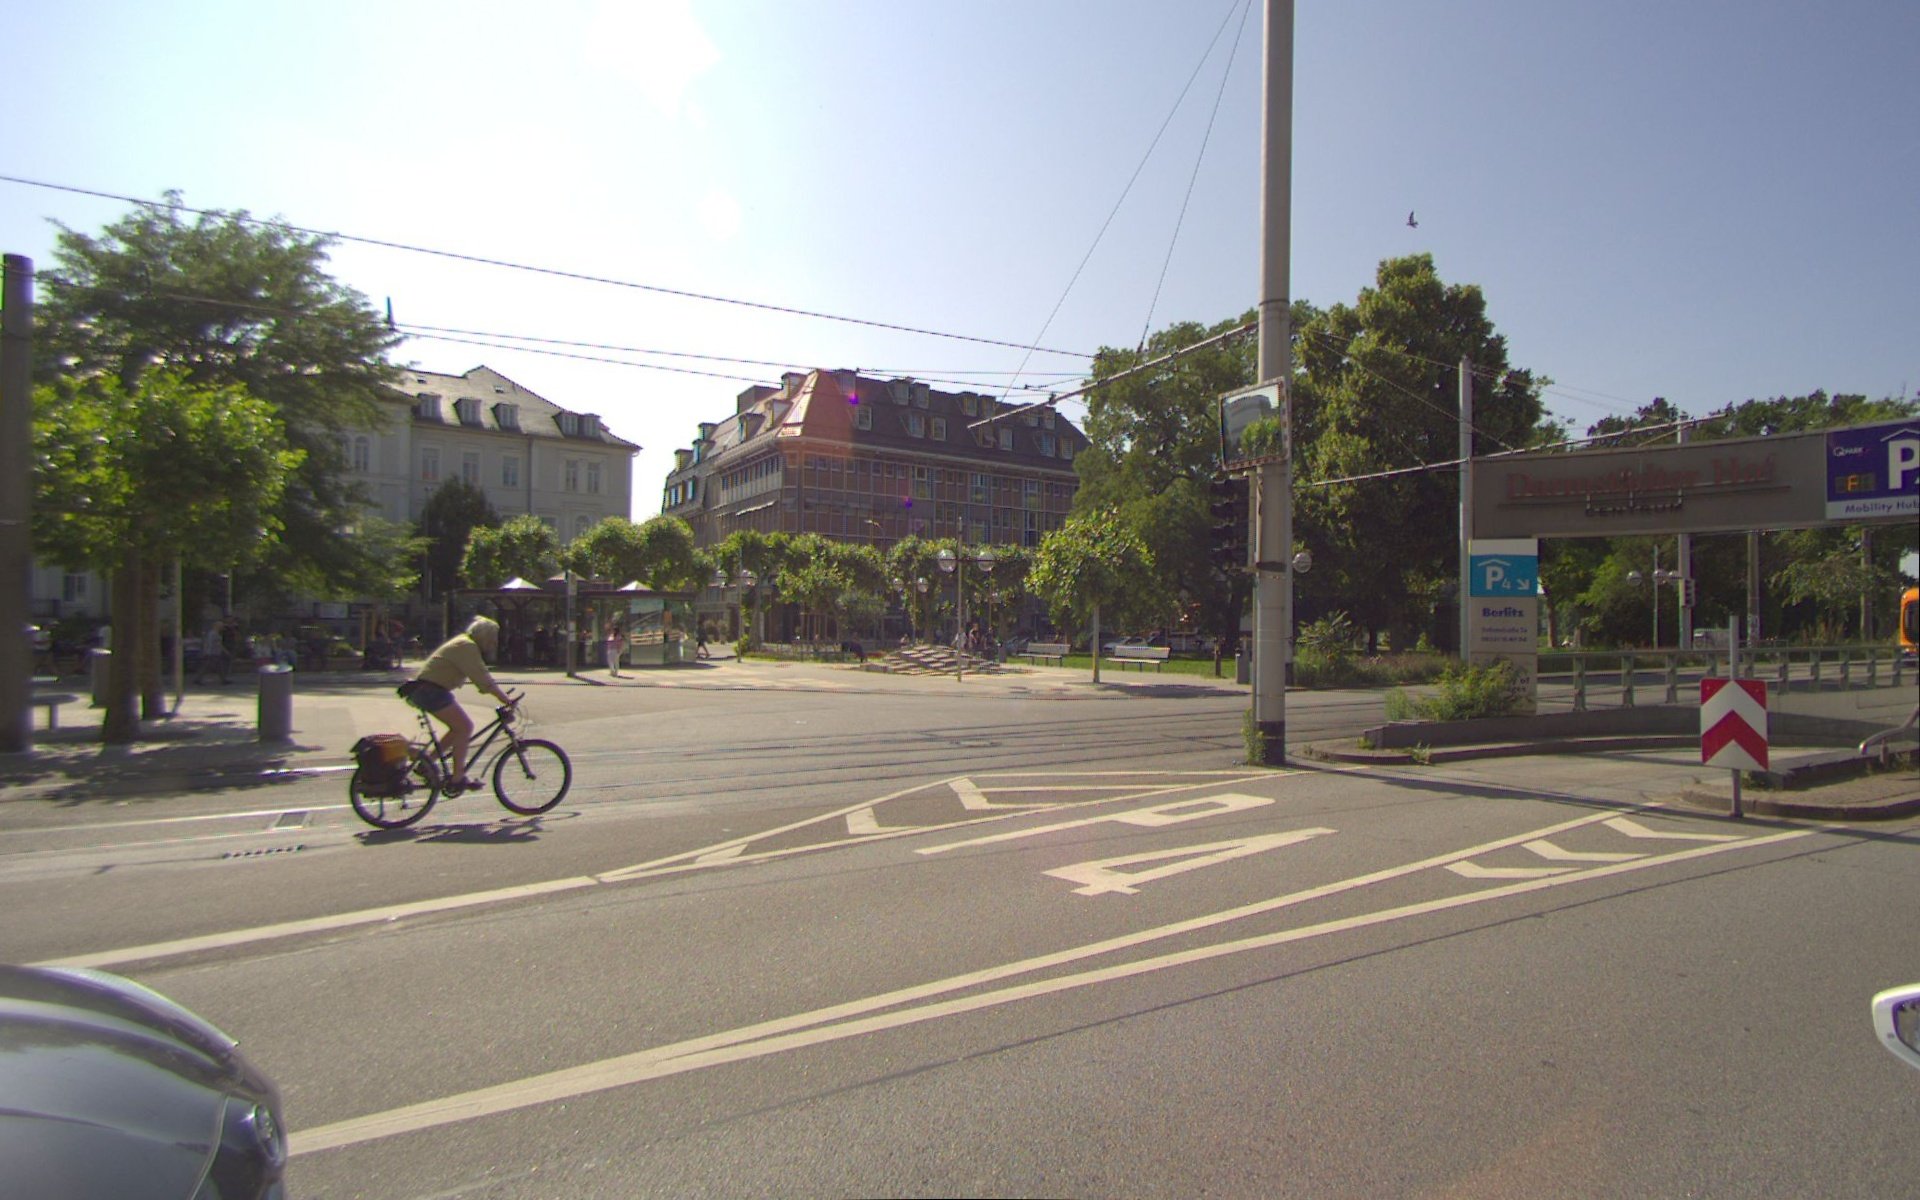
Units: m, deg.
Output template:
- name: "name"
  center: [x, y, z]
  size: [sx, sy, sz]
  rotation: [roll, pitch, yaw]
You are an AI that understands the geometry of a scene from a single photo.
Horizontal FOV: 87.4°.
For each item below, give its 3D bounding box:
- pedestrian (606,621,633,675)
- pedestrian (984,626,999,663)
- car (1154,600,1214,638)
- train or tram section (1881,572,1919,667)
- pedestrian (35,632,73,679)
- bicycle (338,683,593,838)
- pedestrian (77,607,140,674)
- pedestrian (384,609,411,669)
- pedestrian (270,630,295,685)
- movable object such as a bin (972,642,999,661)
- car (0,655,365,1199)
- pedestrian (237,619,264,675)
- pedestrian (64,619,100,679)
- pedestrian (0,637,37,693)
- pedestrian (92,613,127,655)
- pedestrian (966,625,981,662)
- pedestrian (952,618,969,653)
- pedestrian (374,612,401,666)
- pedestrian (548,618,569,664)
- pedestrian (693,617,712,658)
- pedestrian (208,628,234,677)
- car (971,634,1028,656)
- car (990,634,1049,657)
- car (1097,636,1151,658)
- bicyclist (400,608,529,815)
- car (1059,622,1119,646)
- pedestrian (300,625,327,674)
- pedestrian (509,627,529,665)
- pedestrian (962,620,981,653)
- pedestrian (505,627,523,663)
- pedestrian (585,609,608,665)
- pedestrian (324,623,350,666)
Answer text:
- name: "pedestrian"
  center: [-11.026, 1.559, 32.510]
  size: [0.697, 1.728, 0.673]
  rotation: [1, -2, -31]
- name: "pedestrian"
  center: [1.386, 1.961, 44.551]
  size: [0.491, 1.630, 0.410]
  rotation: [1, -3, -40]
- name: "car"
  center: [20.685, 1.784, 92.858]
  size: [5.359, 3.360, 2.115]
  rotation: [1, 1, -31]
- name: "train or tram section"
  center: [39.355, 0.820, 39.737]
  size: [6.034, 3.629, 2.600]
  rotation: [1, 1, -31]
- name: "pedestrian"
  center: [-25.437, 1.550, 28.207]
  size: [0.573, 1.279, 0.620]
  rotation: [0, -2, -21]
- name: "bicycle"
  center: [-4.193, 1.303, 8.573]
  size: [1.855, 1.135, 0.813]
  rotation: [2, -4, -34]
- name: "pedestrian"
  center: [-23.908, 1.139, 28.214]
  size: [1.064, 1.817, 0.964]
  rotation: [0, -2, -21]
- name: "pedestrian"
  center: [-19.226, 1.324, 34.312]
  size: [0.537, 2.034, 0.630]
  rotation: [-2, -3, 37]
- name: "pedestrian"
  center: [-21.934, 1.863, 32.527]
  size: [0.612, 1.751, 0.736]
  rotation: [1, -2, -31]
- name: "movable object such as a bin"
  center: [1.088, 2.186, 42.776]
  size: [0.790, 0.764, 0.903]
  rotation: [0, -3, -30]
- name: "car"
  center: [-2.669, 0.798, 0.498]
  size: [3.950, 1.494, 1.770]
  rotation: [1, -2, -28]
- name: "pedestrian"
  center: [-22.637, 1.501, 32.053]
  size: [0.612, 1.751, 0.736]
  rotation: [1, -2, -31]
- name: "pedestrian"
  center: [-26.734, 1.493, 30.583]
  size: [0.612, 1.802, 0.580]
  rotation: [0, -2, -16]
- name: "pedestrian"
  center: [-17.450, 1.189, 18.455]
  size: [0.573, 1.014, 0.632]
  rotation: [0, -3, -28]
- name: "pedestrian"
  center: [-25.944, 1.045, 30.665]
  size: [0.612, 1.279, 0.580]
  rotation: [0, -2, -16]
- name: "pedestrian"
  center: [0.582, 1.894, 43.680]
  size: [0.460, 1.630, 0.449]
  rotation: [0, -3, -30]
- name: "pedestrian"
  center: [0.016, 1.650, 47.129]
  size: [0.616, 1.630, 0.488]
  rotation: [1, -3, -40]
- name: "pedestrian"
  center: [-19.181, 1.304, 33.658]
  size: [0.537, 1.771, 0.630]
  rotation: [-2, -3, 37]
- name: "pedestrian"
  center: [-15.347, 1.562, 38.372]
  size: [0.612, 1.751, 0.736]
  rotation: [1, -2, -31]
- name: "pedestrian"
  center: [-13.043, 1.899, 50.844]
  size: [0.822, 2.034, 0.598]
  rotation: [1, -3, -33]
- name: "pedestrian"
  center: [-19.458, 1.375, 26.457]
  size: [0.398, 1.279, 0.480]
  rotation: [-3, -3, 41]
- name: "car"
  center: [2.920, 3.280, 73.525]
  size: [3.962, 1.528, 1.743]
  rotation: [1, 1, -37]
- name: "car"
  center: [4.231, 3.207, 71.045]
  size: [3.962, 1.528, 1.743]
  rotation: [1, 1, -37]
- name: "car"
  center: [12.624, 3.572, 77.220]
  size: [3.962, 1.528, 1.743]
  rotation: [1, 1, -37]
- name: "bicyclist"
  center: [-4.240, 0.916, 8.580]
  size: [0.893, 1.643, 0.813]
  rotation: [1, -4, -34]
- name: "car"
  center: [10.056, 2.644, 78.156]
  size: [4.798, 1.685, 1.743]
  rotation: [1, 1, -37]
- name: "pedestrian"
  center: [-21.296, 1.627, 33.103]
  size: [0.614, 1.619, 0.733]
  rotation: [1, -3, -42]
- name: "pedestrian"
  center: [-16.395, 1.710, 37.359]
  size: [0.591, 1.409, 0.565]
  rotation: [1, -2, -31]
- name: "pedestrian"
  center: [0.530, 1.678, 46.541]
  size: [0.656, 1.512, 0.521]
  rotation: [1, -3, -39]
- name: "pedestrian"
  center: [-17.234, 1.724, 38.804]
  size: [0.591, 1.377, 0.565]
  rotation: [1, -3, -31]
- name: "pedestrian"
  center: [-13.378, 1.372, 36.980]
  size: [0.726, 2.034, 0.627]
  rotation: [1, -2, -25]
- name: "pedestrian"
  center: [-20.824, 1.496, 33.567]
  size: [0.614, 1.404, 0.733]
  rotation: [1, -3, -42]
